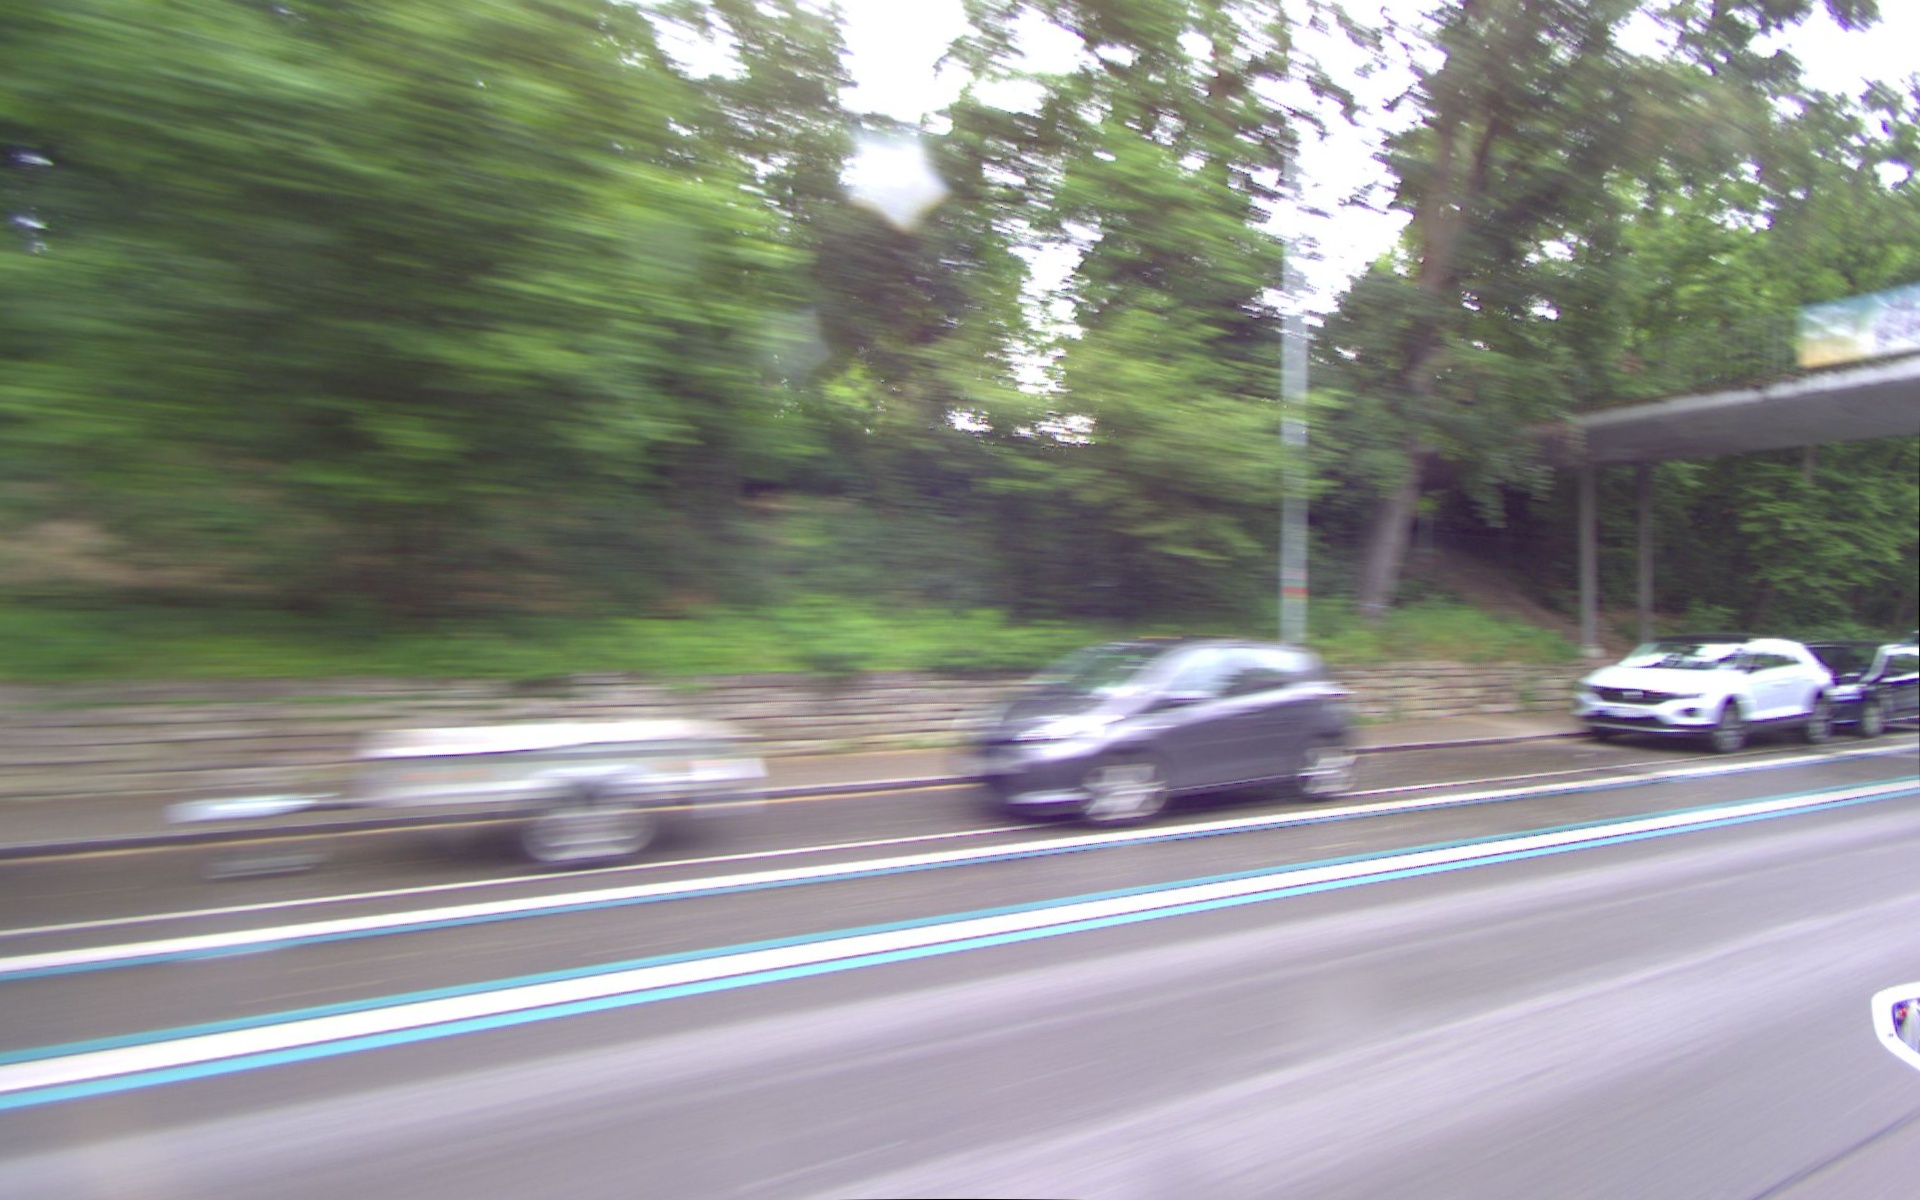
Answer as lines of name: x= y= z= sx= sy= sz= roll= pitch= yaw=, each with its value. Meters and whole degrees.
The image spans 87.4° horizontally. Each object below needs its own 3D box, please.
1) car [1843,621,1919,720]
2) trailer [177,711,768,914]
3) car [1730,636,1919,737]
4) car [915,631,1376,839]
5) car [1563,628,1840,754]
car: x=19.261 y=1.294 z=19.309 sx=4.779 sy=1.765 sz=1.982 roll=1 pitch=-1 yaw=-29
trailer: x=-3.125 y=1.298 z=6.846 sx=3.265 sy=0.830 sz=1.536 roll=1 pitch=-1 yaw=-30
car: x=14.731 y=1.362 z=16.753 sx=3.795 sy=1.458 sz=1.603 roll=1 pitch=-1 yaw=-28
car: x=1.767 y=1.050 z=9.246 sx=3.994 sy=1.496 sz=1.822 roll=1 pitch=-1 yaw=-31
car: x=10.791 y=1.208 z=14.564 sx=4.181 sy=1.567 sz=1.680 roll=1 pitch=-1 yaw=-29
